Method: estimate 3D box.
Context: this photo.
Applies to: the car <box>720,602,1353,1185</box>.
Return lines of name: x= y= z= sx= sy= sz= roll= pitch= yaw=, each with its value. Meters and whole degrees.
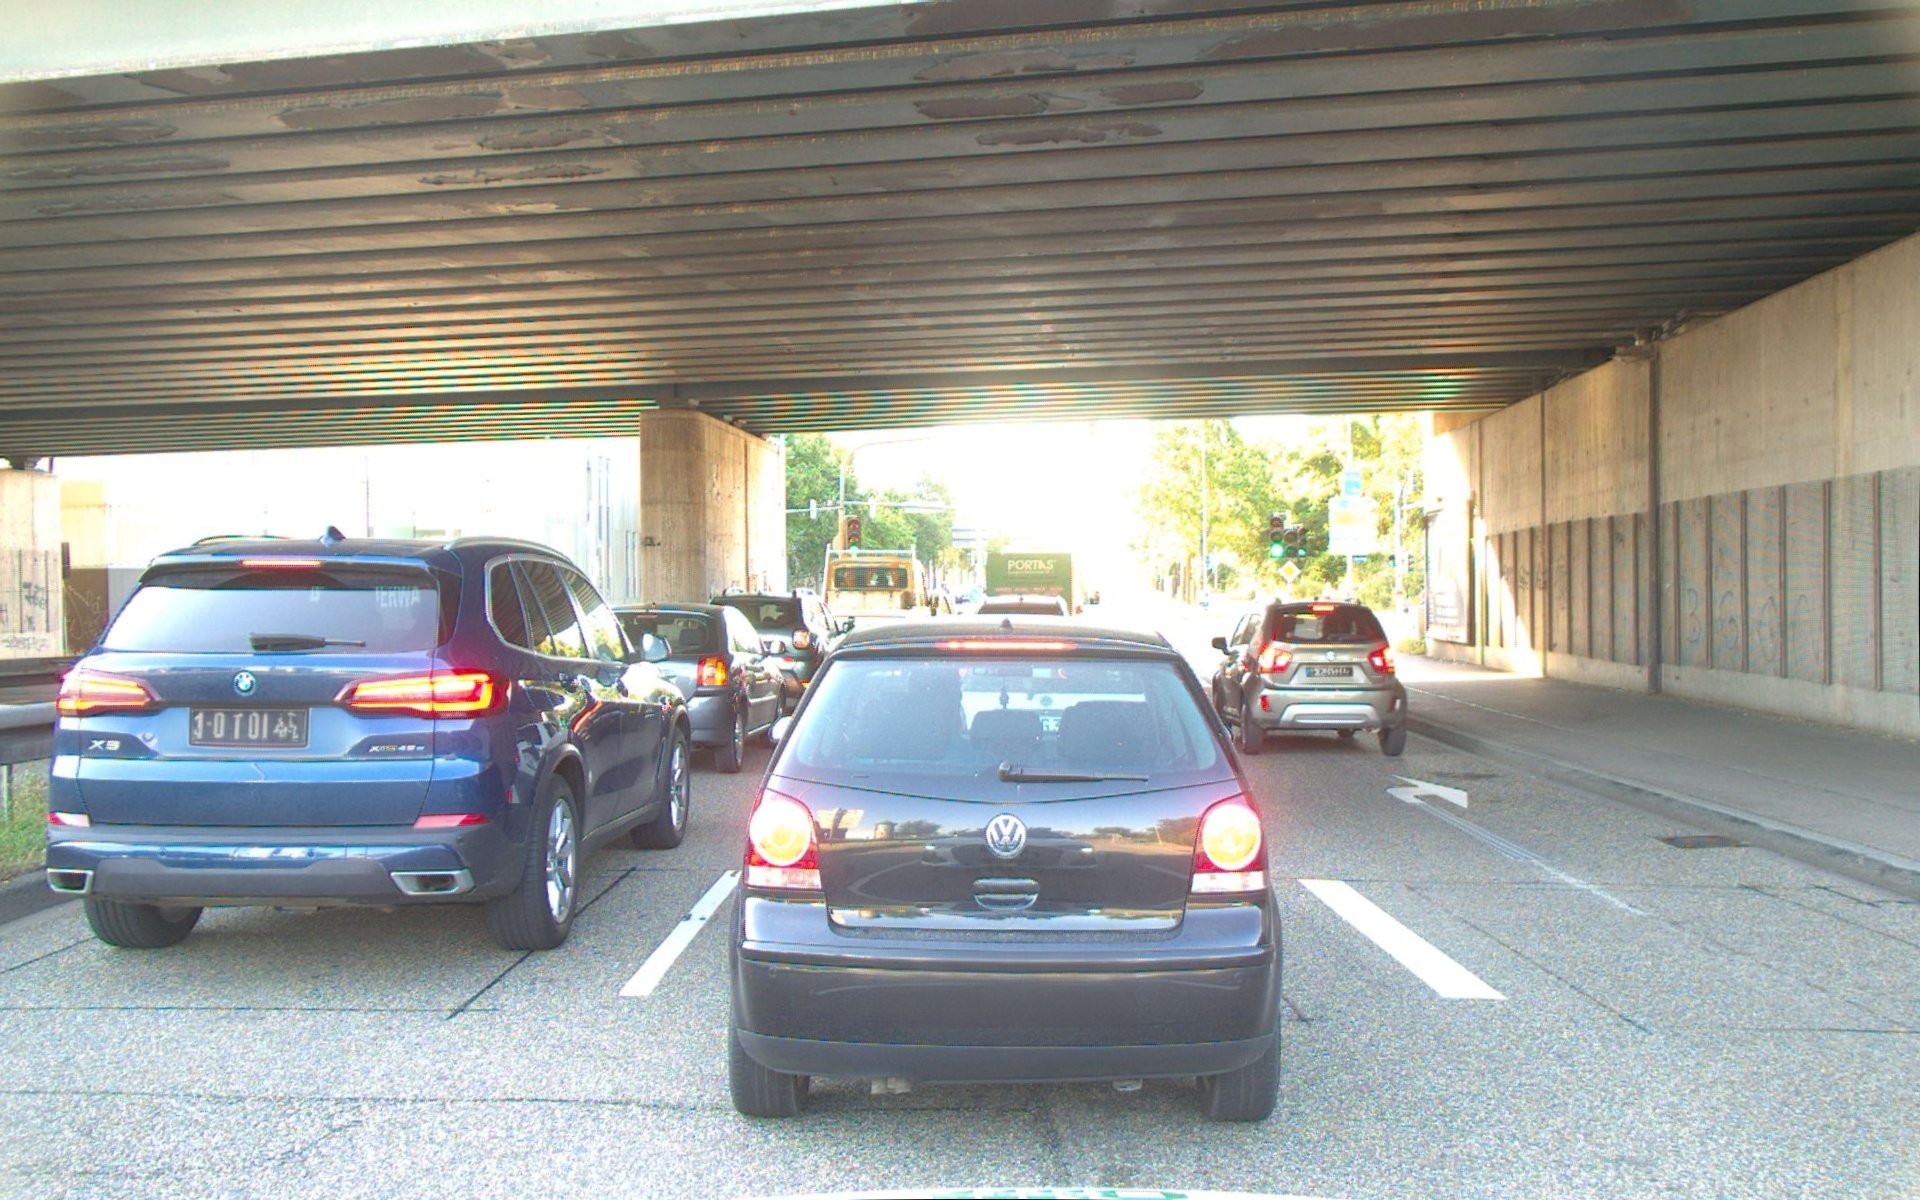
car: x=0.305 y=0.745 z=6.034 sx=1.582 sy=1.434 sz=3.684 roll=1 pitch=0 yaw=4

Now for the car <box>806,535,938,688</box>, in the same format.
car: x=-1.562 y=0.217 z=31.299 sx=2.092 sy=2.621 sz=5.087 roll=1 pitch=0 yaw=1

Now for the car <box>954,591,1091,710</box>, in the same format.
car: x=1.014 y=0.699 z=24.604 sx=1.758 sy=1.586 sz=4.003 roll=1 pitch=0 yaw=6

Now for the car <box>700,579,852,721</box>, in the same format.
car: x=-2.366 y=0.620 z=22.048 sx=1.583 sy=1.709 sz=3.683 roll=1 pitch=0 yaw=0

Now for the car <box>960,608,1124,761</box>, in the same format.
car: x=0.808 y=0.817 z=17.837 sx=1.546 sy=1.438 sz=4.062 roll=1 pitch=0 yaw=1

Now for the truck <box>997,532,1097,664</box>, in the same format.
truck: x=1.980 y=-0.040 z=36.481 sx=1.954 sy=2.715 sz=4.003 roll=1 pitch=0 yaw=6

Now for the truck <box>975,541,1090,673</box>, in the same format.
truck: x=1.470 y=0.139 z=31.929 sx=1.954 sy=2.356 sz=4.003 roll=1 pitch=0 yaw=6

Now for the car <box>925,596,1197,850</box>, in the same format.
car: x=0.605 y=0.719 z=11.597 sx=1.546 sy=1.438 sz=4.062 roll=1 pitch=0 yaw=1

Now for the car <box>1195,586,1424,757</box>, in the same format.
car: x=3.734 y=0.712 z=18.341 sx=1.701 sy=1.659 sz=4.062 roll=1 pitch=0 yaw=1

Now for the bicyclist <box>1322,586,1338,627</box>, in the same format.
bicyclist: x=11.571 y=0.197 z=51.704 sx=0.418 sy=1.254 sz=0.460 roll=-1 pitch=-1 yaw=6

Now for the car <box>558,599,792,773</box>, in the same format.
car: x=-2.573 y=0.729 z=15.680 sx=1.583 sy=1.434 sz=3.682 roll=1 pitch=0 yaw=0

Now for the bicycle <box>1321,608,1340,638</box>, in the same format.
bicycle: x=11.559 y=0.712 z=51.646 sx=0.428 sy=0.930 sz=1.027 roll=-2 pitch=-1 yaw=6

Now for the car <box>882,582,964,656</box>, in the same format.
car: x=-0.852 y=0.448 z=40.394 sx=1.582 sy=1.709 sz=3.685 roll=1 pitch=0 yaw=5

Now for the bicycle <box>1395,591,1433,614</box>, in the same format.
bicycle: x=21.320 y=0.117 z=77.627 sx=1.628 sy=1.008 sz=0.578 roll=-1 pitch=3 yaw=23

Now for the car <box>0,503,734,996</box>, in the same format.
car: x=-2.525 y=0.551 z=8.315 sx=1.952 sy=1.764 sz=4.534 roll=1 pitch=0 yaw=2
